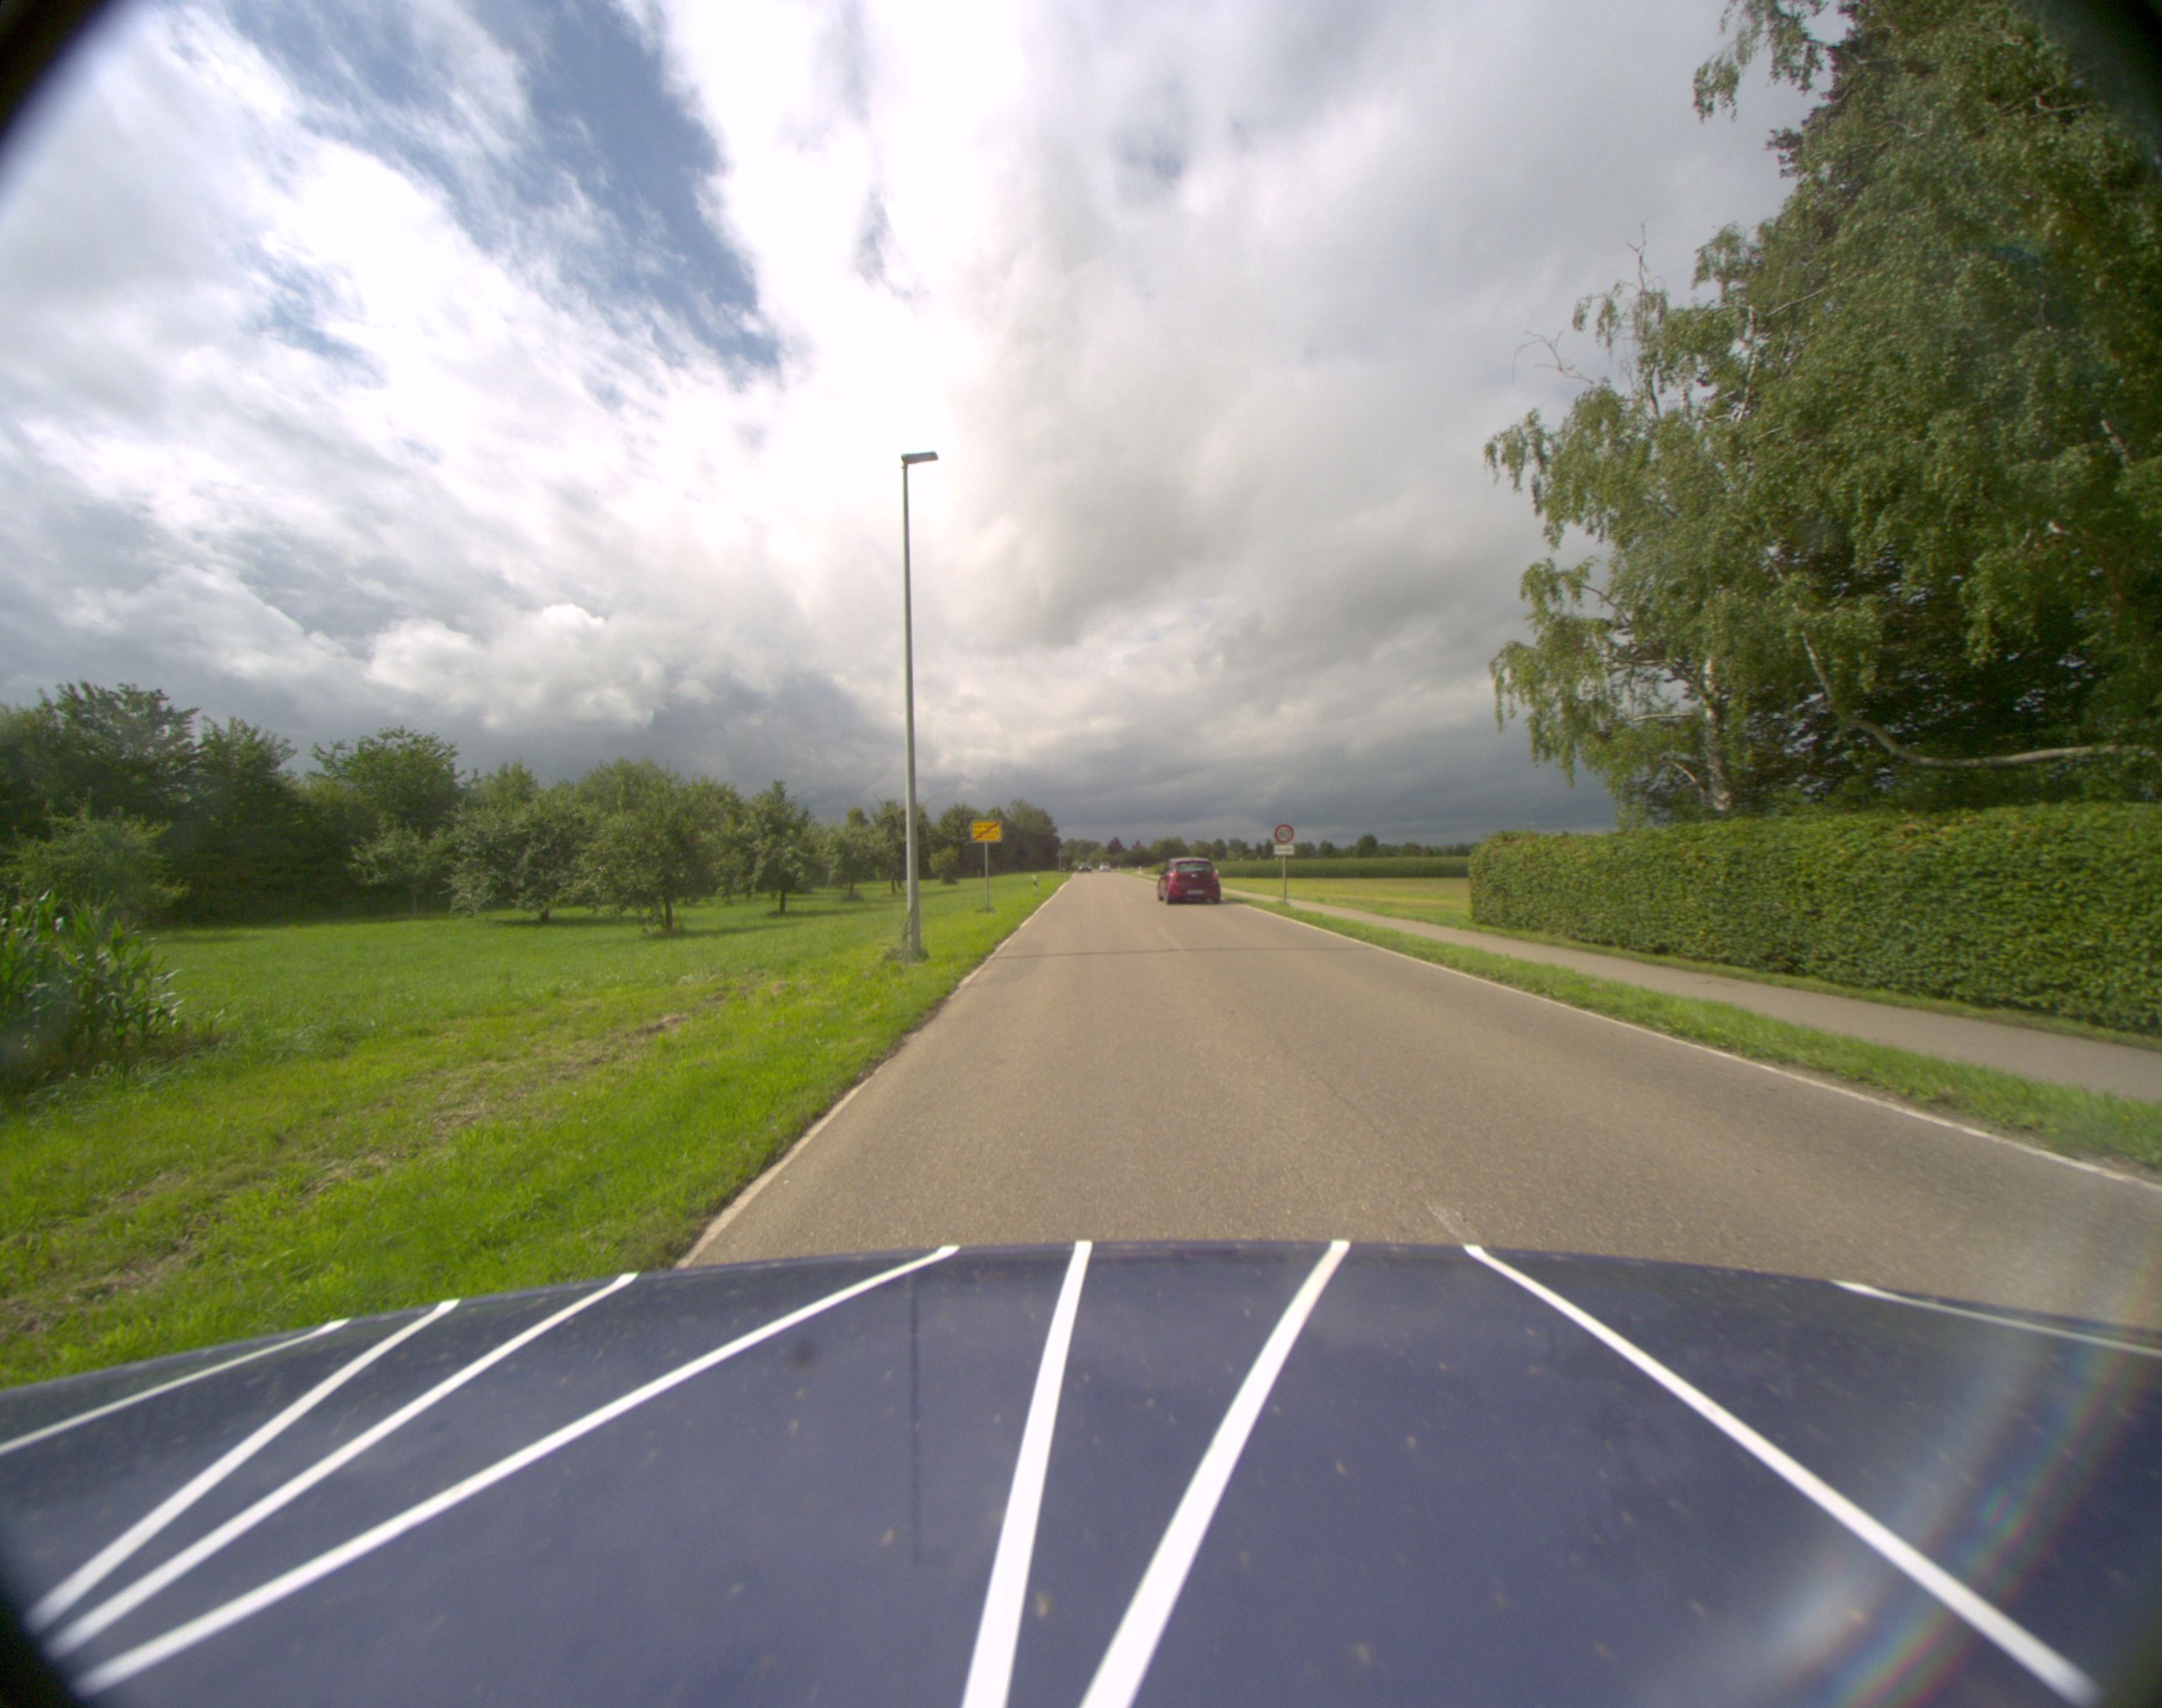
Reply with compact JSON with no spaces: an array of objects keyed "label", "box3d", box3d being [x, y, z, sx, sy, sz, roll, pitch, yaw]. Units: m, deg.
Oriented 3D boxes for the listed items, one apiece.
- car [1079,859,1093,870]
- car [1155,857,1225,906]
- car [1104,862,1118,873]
[{"label":"car","box3d":[0.812,1.649,116.576,1.998,1.594,4.000,-2,0,1]},{"label":"car","box3d":[3.507,0.844,25.018,1.745,1.462,4.000,0,0,0]},{"label":"car","box3d":[4.739,2.101,121.849,2.087,1.716,4.561,0,0,1]}]
